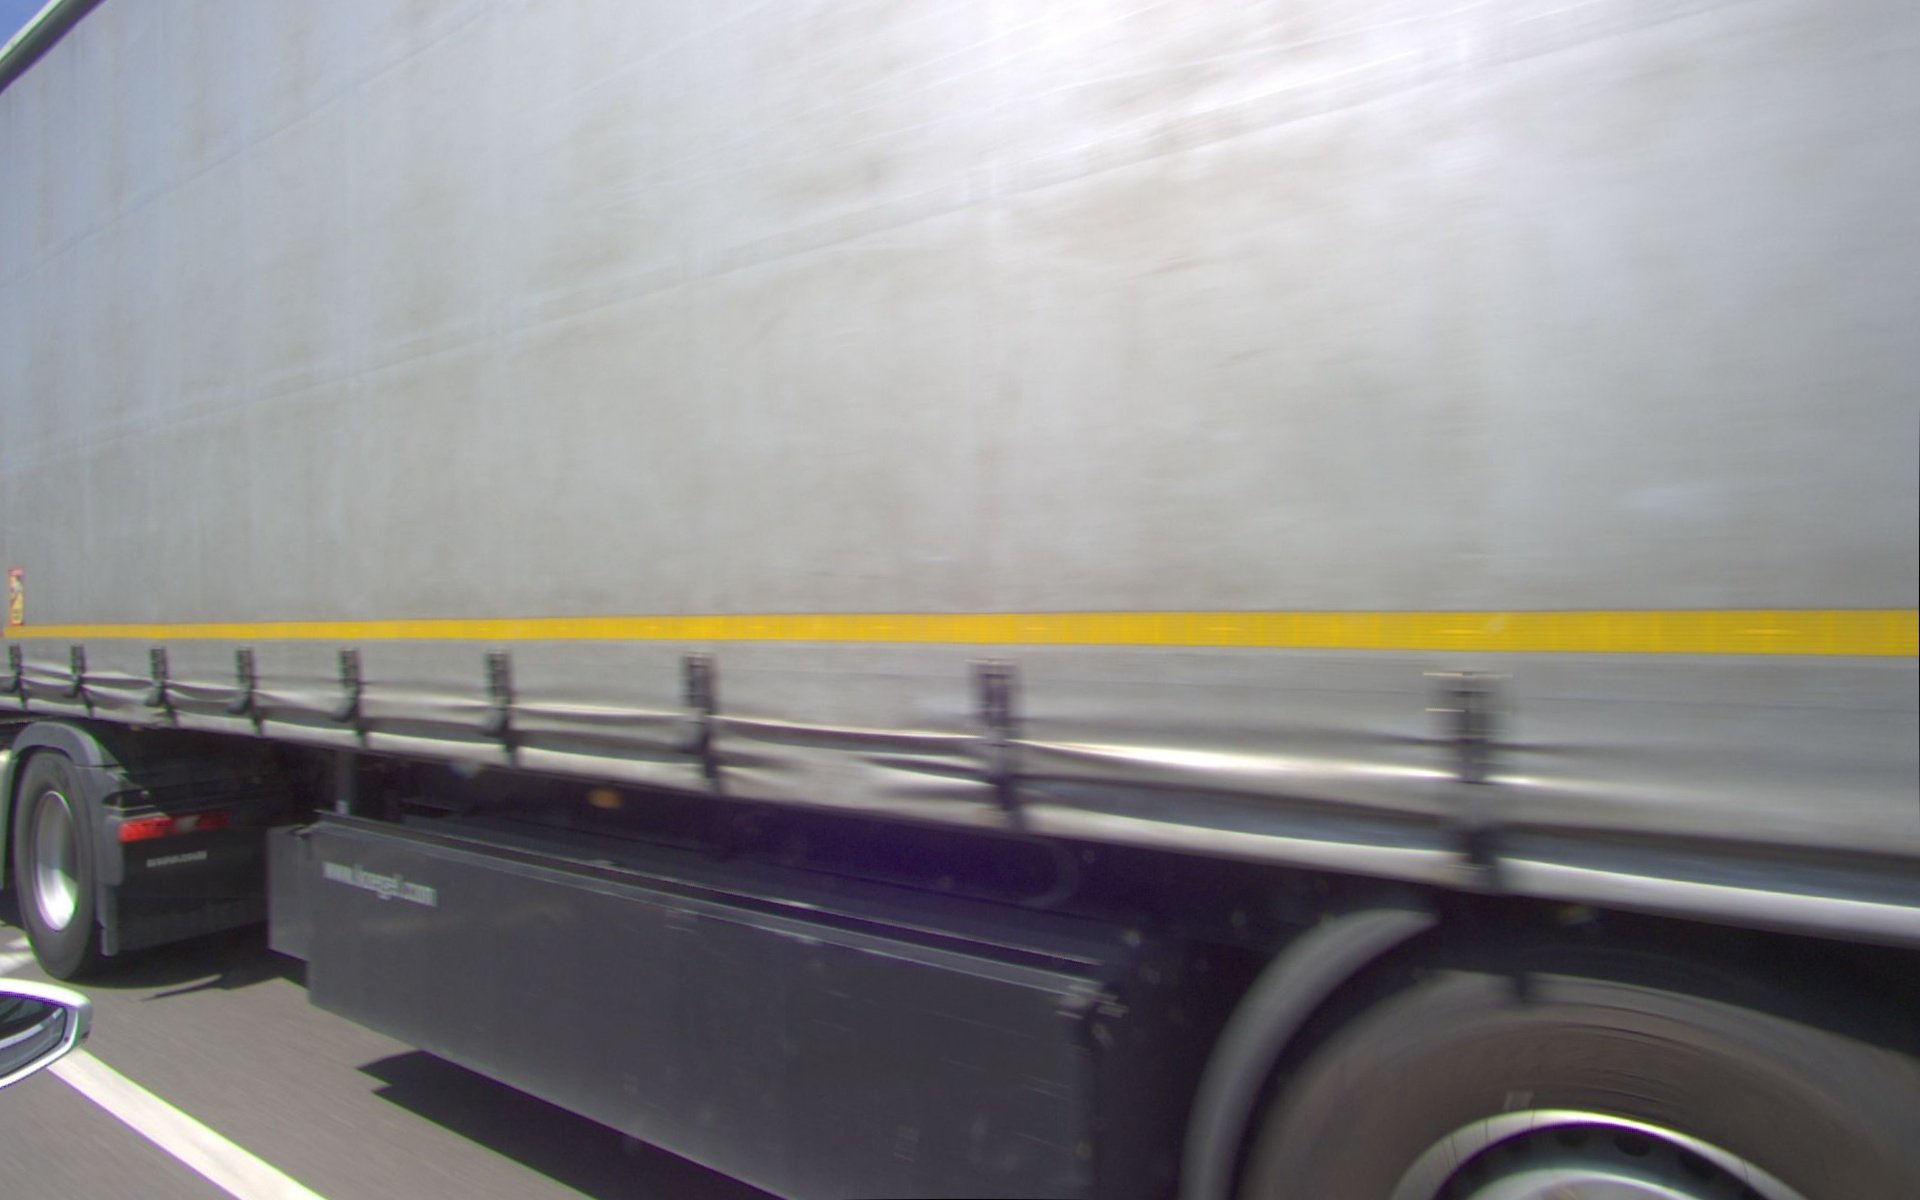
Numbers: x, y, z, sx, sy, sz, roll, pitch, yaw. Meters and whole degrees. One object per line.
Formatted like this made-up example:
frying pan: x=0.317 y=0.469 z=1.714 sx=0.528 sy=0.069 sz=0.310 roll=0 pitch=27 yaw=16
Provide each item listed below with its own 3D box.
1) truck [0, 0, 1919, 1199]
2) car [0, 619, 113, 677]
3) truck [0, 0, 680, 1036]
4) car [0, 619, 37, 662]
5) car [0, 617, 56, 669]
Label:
truck: x=0.563 y=-0.593 z=2.839 sx=13.923 sy=4.064 sz=2.966 roll=-1 pitch=1 yaw=33
car: x=-31.855 y=1.598 z=34.511 sx=1.848 sy=1.715 sz=4.182 roll=-1 pitch=1 yaw=-3
truck: x=-5.174 y=-0.418 z=6.529 sx=6.237 sy=4.064 sz=2.966 roll=-1 pitch=1 yaw=32
car: x=-41.777 y=1.801 z=41.973 sx=4.070 sy=1.737 sz=1.853 roll=-3 pitch=1 yaw=-10
car: x=-34.191 y=1.548 z=34.800 sx=1.848 sy=1.715 sz=4.172 roll=-1 pitch=1 yaw=-3
